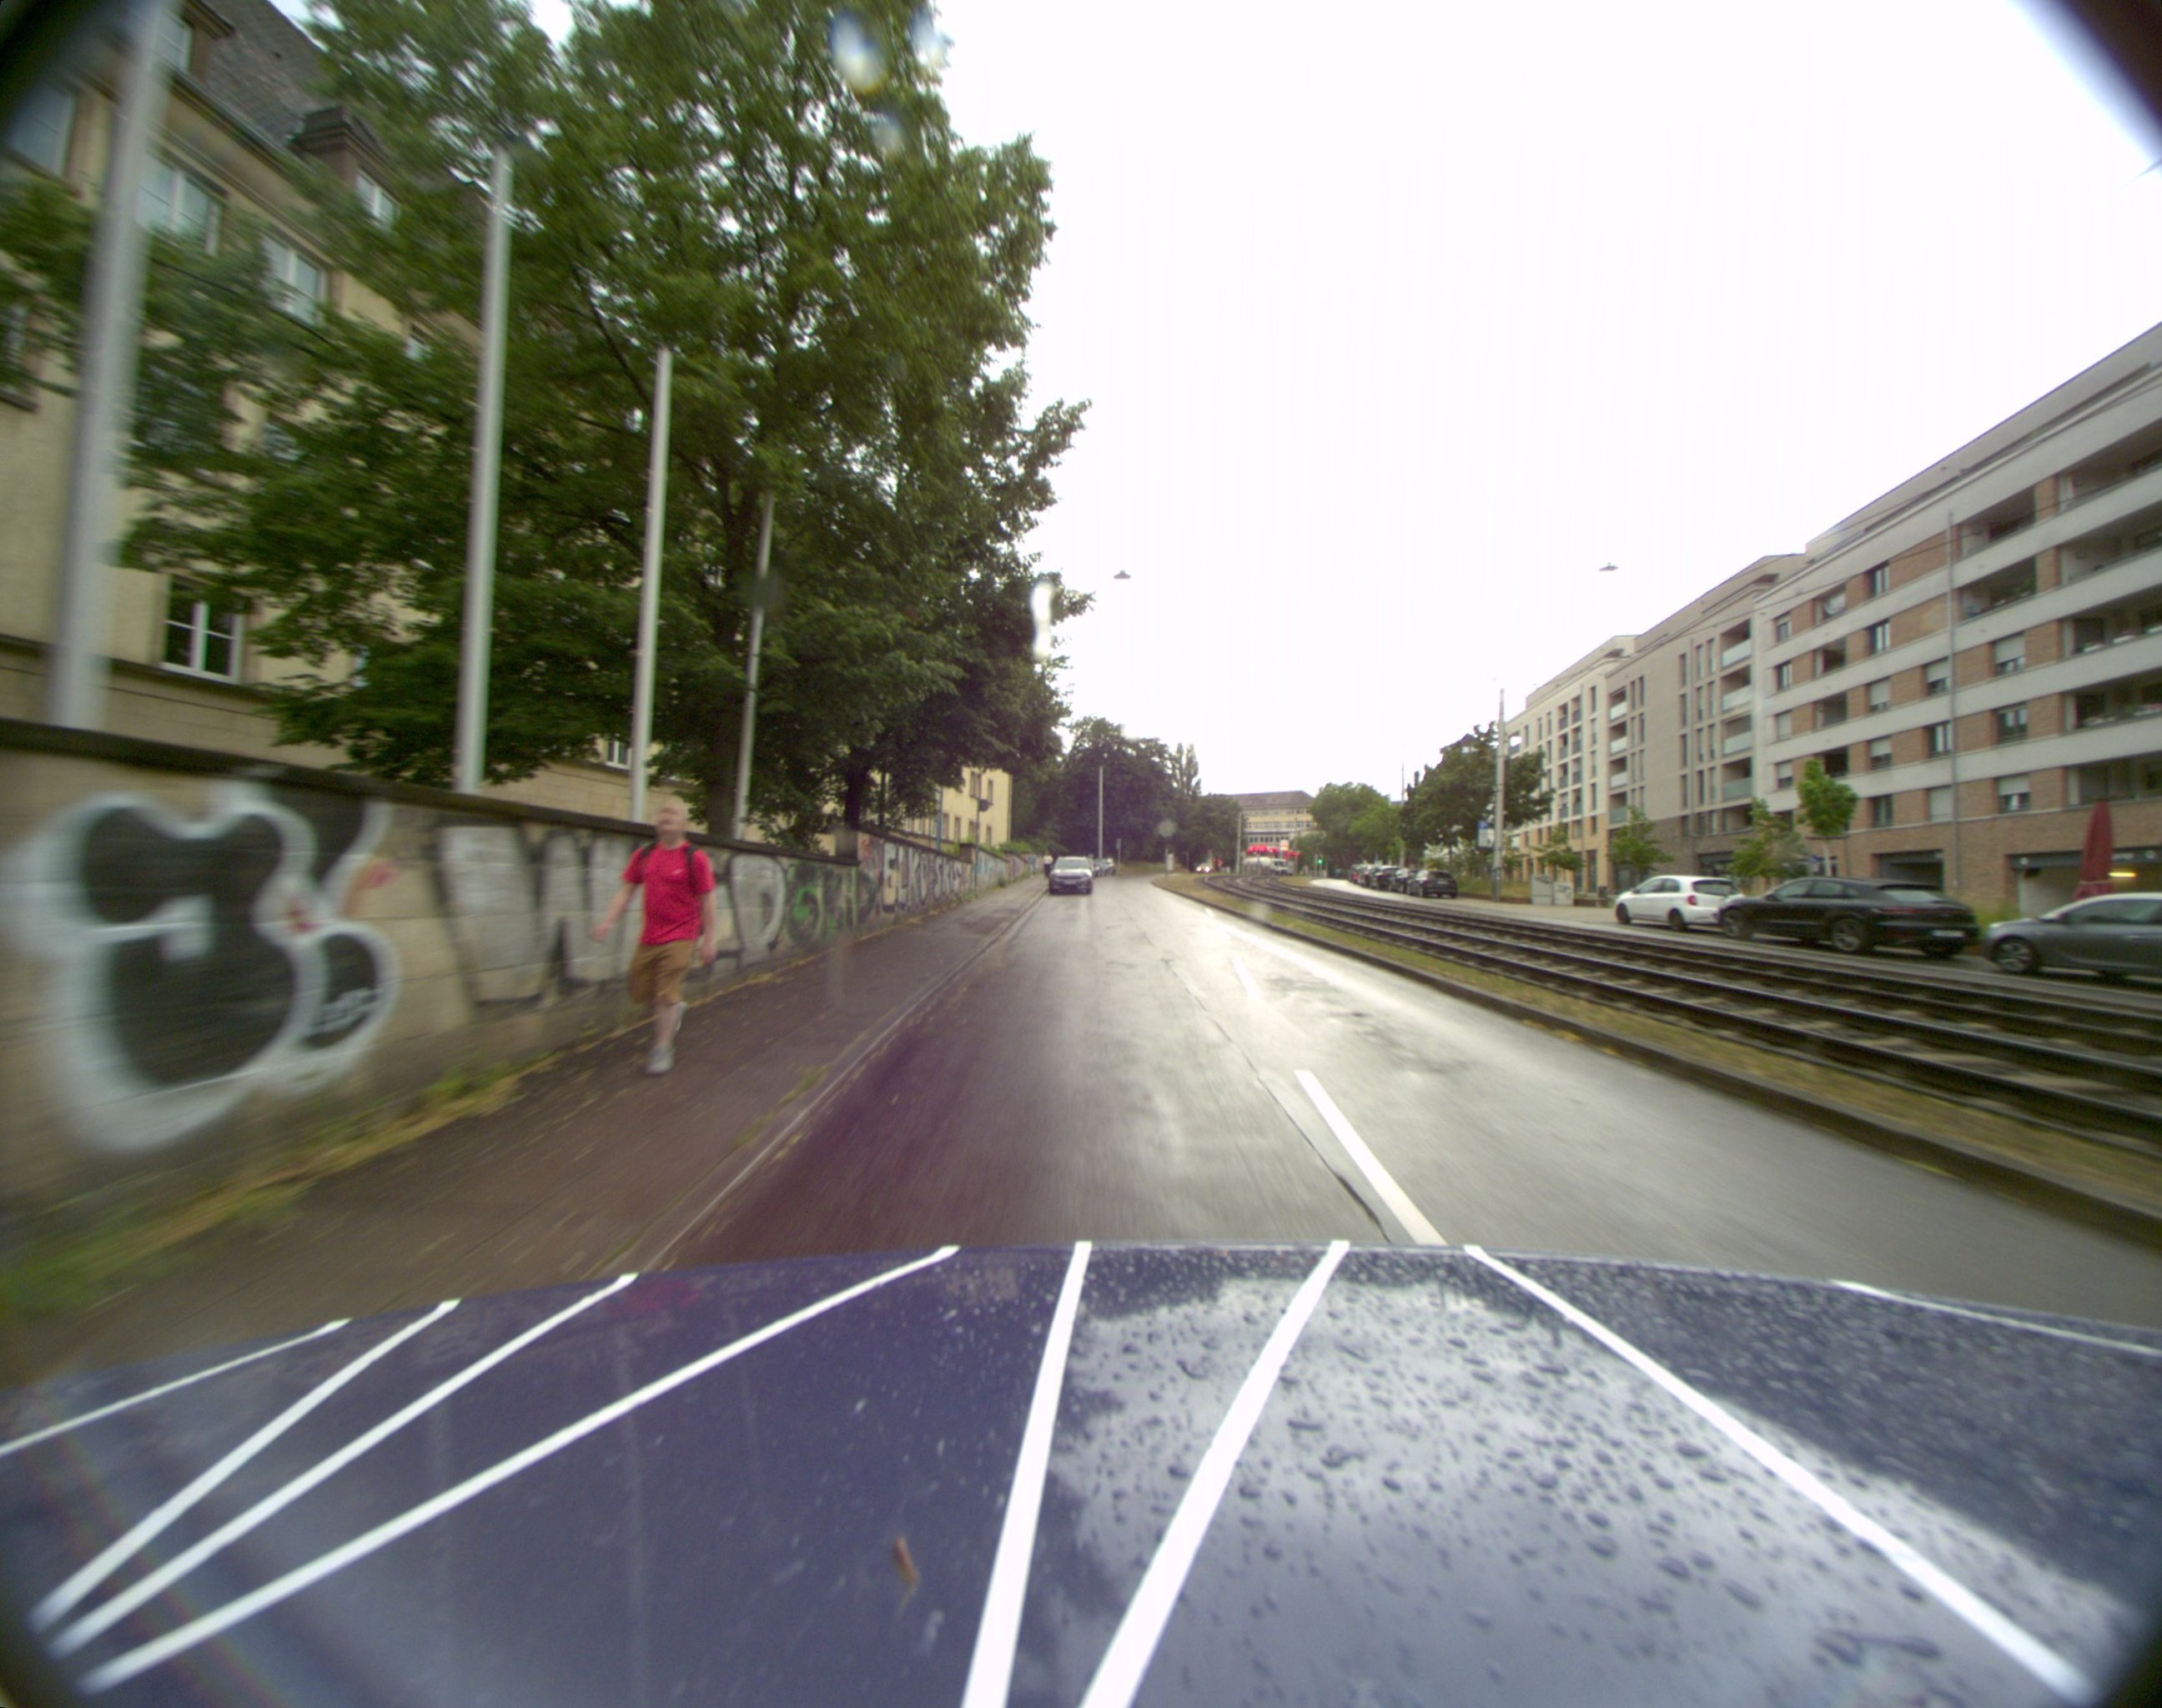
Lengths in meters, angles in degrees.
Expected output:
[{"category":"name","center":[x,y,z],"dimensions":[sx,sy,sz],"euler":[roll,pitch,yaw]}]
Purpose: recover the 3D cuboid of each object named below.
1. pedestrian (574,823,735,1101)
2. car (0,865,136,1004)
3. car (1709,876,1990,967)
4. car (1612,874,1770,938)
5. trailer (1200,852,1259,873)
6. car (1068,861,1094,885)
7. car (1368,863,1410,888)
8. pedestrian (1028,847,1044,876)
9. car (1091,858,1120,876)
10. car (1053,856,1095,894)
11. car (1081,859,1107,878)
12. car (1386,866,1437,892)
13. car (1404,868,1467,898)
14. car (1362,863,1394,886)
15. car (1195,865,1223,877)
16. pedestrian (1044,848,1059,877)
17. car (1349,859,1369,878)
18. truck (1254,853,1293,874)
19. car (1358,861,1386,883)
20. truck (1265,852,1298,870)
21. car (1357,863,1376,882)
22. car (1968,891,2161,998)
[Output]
[{"category":"pedestrian","center":[-2.821,0.673,5.090],"dimensions":[0.634,1.711,0.711],"euler":[2,1,2]},{"category":"car","center":[-13.974,0.867,9.024],"dimensions":[3.941,1.488,1.631],"euler":[2,-2,9]},{"category":"car","center":[16.578,1.352,16.799],"dimensions":[1.770,1.552,4.405],"euler":[2,0,1]},{"category":"car","center":[17.053,1.392,21.485],"dimensions":[1.769,1.470,3.737],"euler":[2,0,8]},{"category":"trailer","center":[26.054,1.414,133.446],"dimensions":[9.811,3.376,2.818],"euler":[1,0,22]},{"category":"car","center":[0.000,1.236,50.884],"dimensions":[1.670,1.468,4.065],"euler":[1,0,0]},{"category":"car","center":[20.930,1.450,51.840],"dimensions":[1.806,1.574,4.703],"euler":[1,0,12]},{"category":"pedestrian","center":[-2.789,0.465,47.367],"dimensions":[0.719,1.744,0.740],"euler":[2,1,12]},{"category":"car","center":[2.147,1.122,65.869],"dimensions":[1.599,1.457,2.726],"euler":[3,0,24]},{"category":"car","center":[-0.238,0.856,32.818],"dimensions":[1.669,1.515,4.109],"euler":[0,0,1]},{"category":"car","center":[1.101,1.168,61.610],"dimensions":[1.538,1.408,3.646],"euler":[3,0,9]},{"category":"car","center":[20.324,1.491,46.881],"dimensions":[1.740,1.480,4.260],"euler":[0,0,8]},{"category":"car","center":[19.018,1.536,40.954],"dimensions":[1.969,1.422,4.202],"euler":[1,0,9]},{"category":"car","center":[22.260,1.482,57.083],"dimensions":[1.734,1.635,4.537],"euler":[1,0,14]},{"category":"car","center":[16.666,2.209,98.689],"dimensions":[1.885,1.482,3.858],"euler":[2,1,38]},{"category":"pedestrian","center":[-1.838,0.505,47.201],"dimensions":[0.719,1.744,0.740],"euler":[2,1,12]},{"category":"car","center":[28.027,1.468,76.671],"dimensions":[1.583,1.848,4.339],"euler":[-1,0,17]},{"category":"truck","center":[33.105,1.624,130.751],"dimensions":[6.110,3.379,2.842],"euler":[2,0,20]},{"category":"car","center":[23.976,1.453,62.784],"dimensions":[1.665,1.737,4.262],"euler":[1,0,15]},{"category":"truck","center":[41.776,1.529,158.209],"dimensions":[2.654,3.548,10.279],"euler":[1,0,39]},{"category":"car","center":[25.244,1.613,67.142],"dimensions":[1.470,1.522,2.936],"euler":[1,0,21]},{"category":"car","center":[16.477,1.393,11.714],"dimensions":[1.553,1.427,3.451],"euler":[2,0,1]}]
